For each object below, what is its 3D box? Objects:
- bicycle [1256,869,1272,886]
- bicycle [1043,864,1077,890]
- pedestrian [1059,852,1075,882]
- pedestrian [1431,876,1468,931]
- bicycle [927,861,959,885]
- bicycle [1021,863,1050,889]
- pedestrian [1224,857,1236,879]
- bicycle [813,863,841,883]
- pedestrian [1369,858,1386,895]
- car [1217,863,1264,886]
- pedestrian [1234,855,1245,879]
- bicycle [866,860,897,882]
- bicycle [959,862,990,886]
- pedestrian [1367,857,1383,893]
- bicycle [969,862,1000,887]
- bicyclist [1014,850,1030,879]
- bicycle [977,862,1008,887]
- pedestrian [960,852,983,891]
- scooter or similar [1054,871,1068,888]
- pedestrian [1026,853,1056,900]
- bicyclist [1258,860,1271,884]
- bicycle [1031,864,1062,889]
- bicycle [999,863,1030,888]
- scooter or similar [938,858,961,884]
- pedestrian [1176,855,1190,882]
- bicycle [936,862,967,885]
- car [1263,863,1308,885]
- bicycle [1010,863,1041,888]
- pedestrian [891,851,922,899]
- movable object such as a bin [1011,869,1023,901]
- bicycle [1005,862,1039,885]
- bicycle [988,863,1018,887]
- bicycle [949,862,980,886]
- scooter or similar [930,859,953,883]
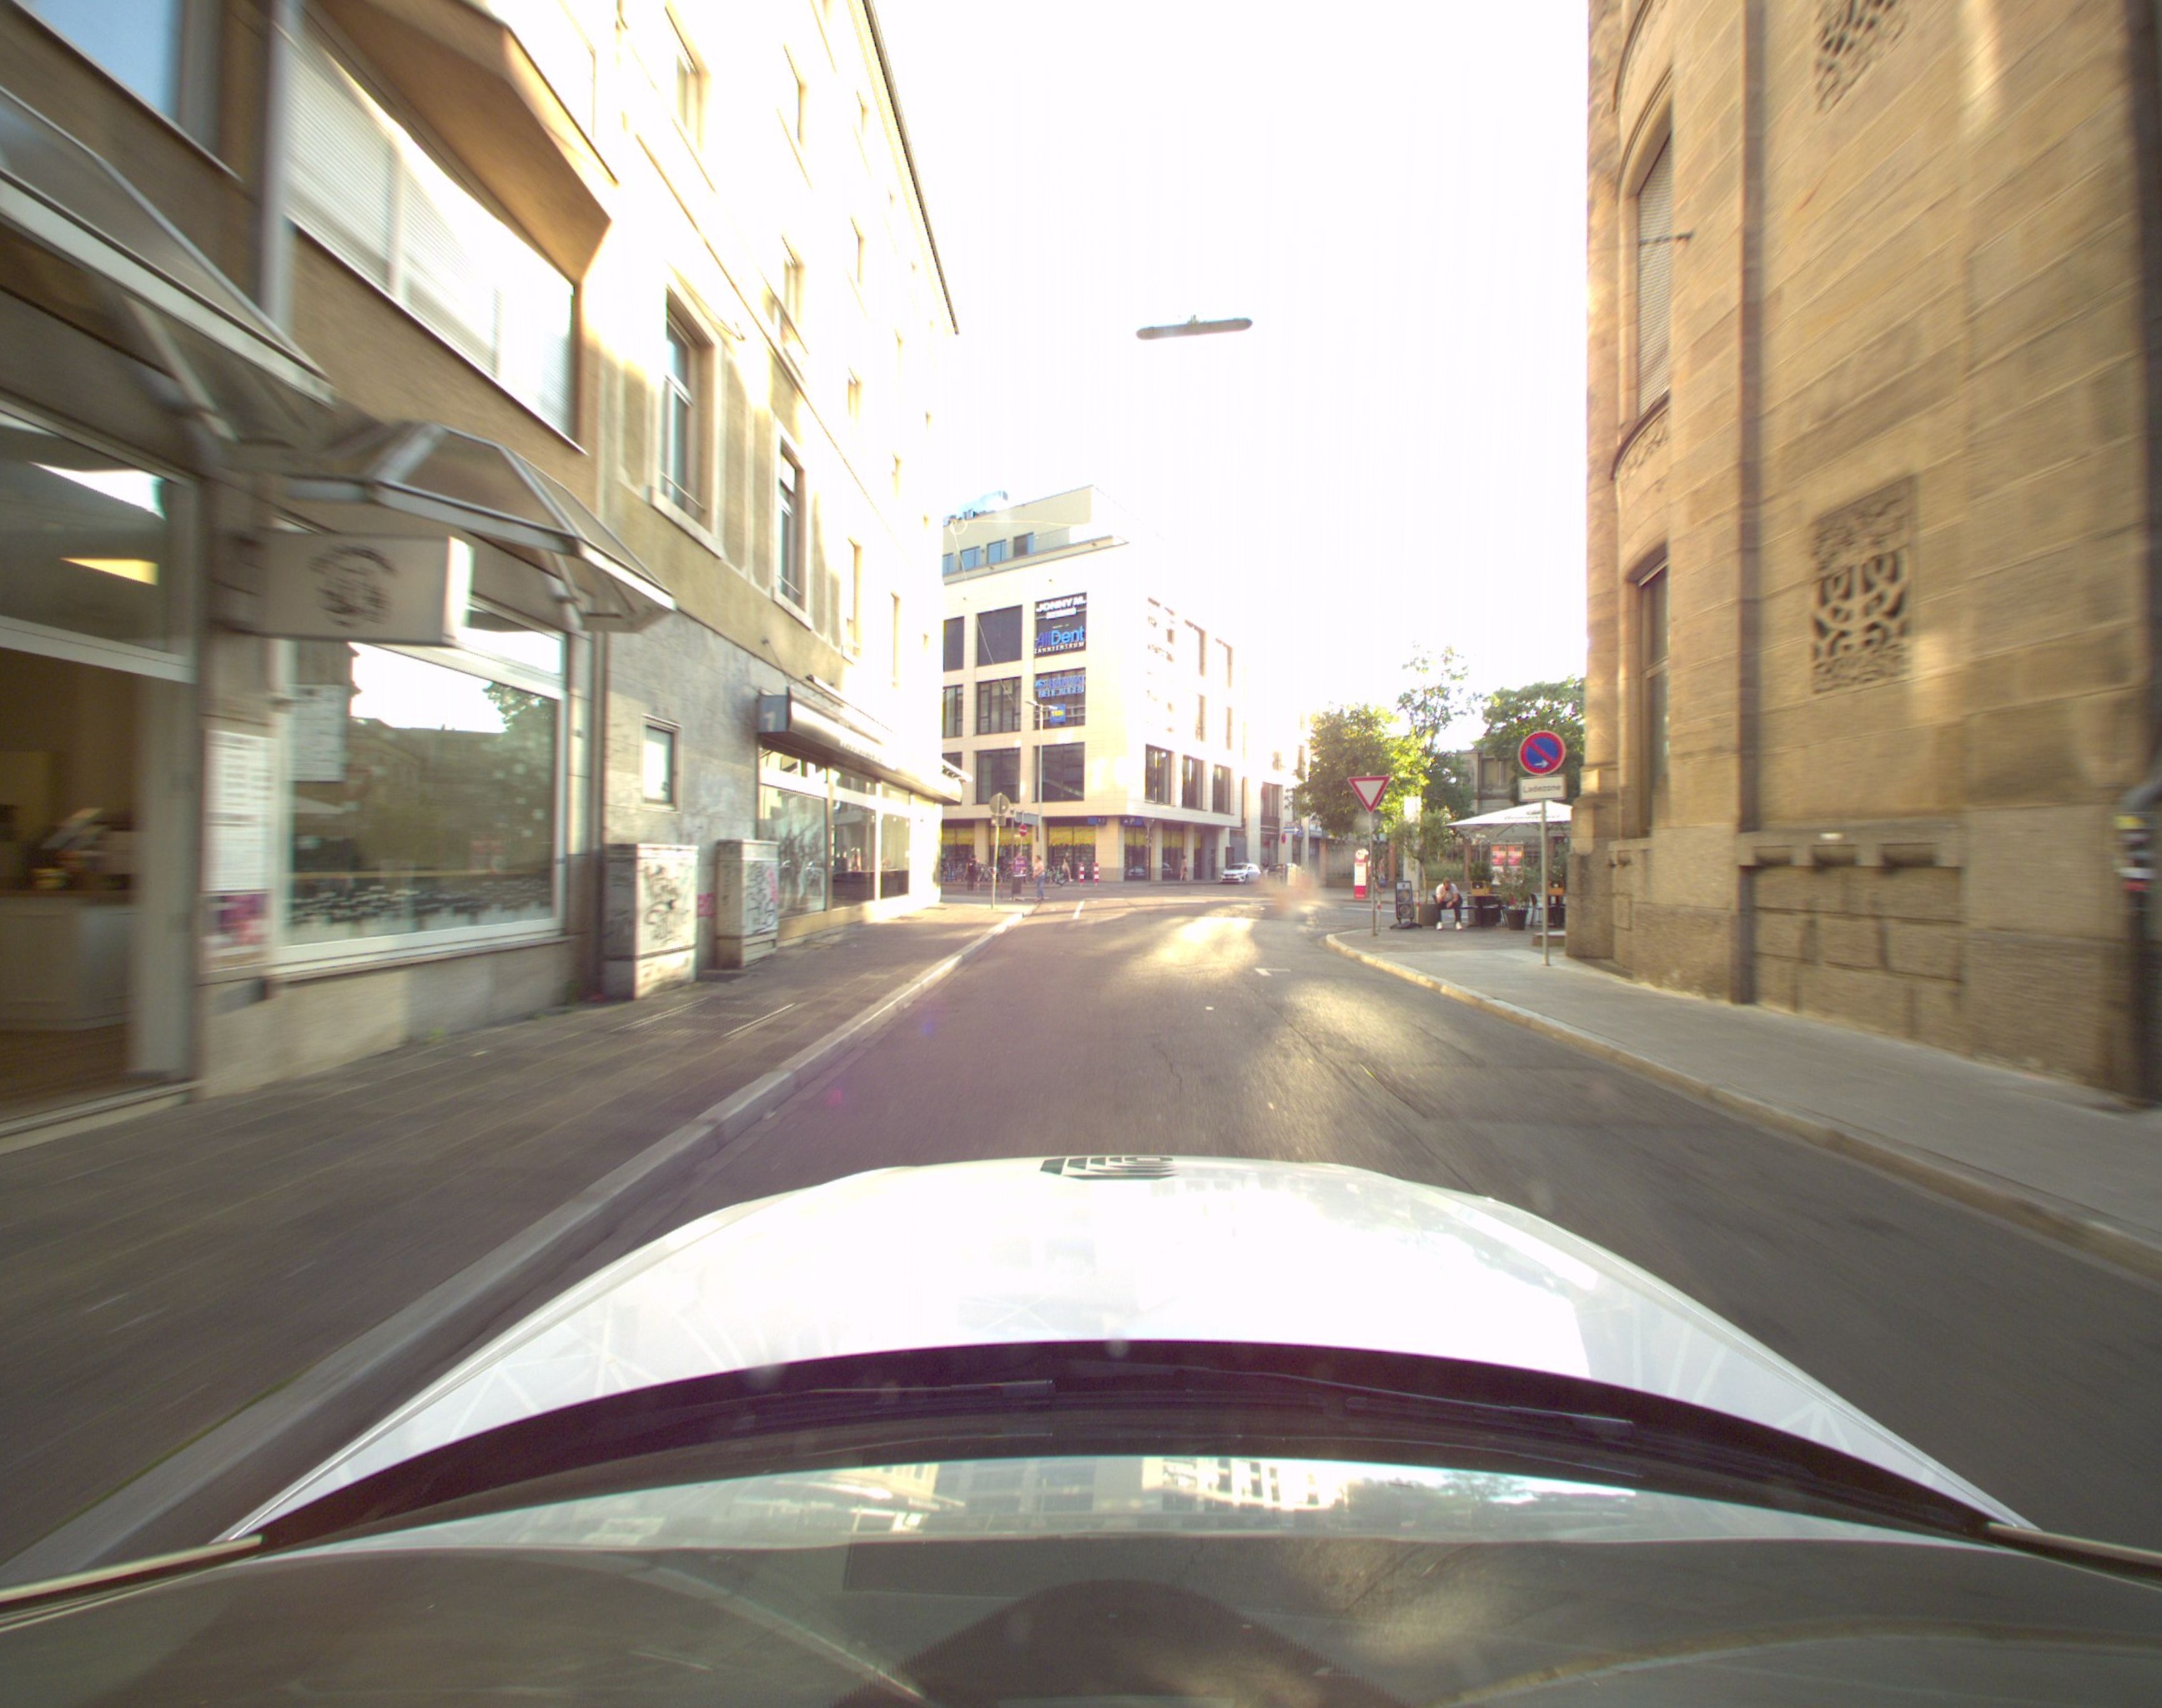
[{"bbox_3d":[12.142,1.551,53.957,0.658,1.138,1.832,1,-1,25],"label":"bicycle"},{"bbox_3d":[-1.043,1.140,40.914,0.657,1.255,2.153,1,-1,28],"label":"bicycle"},{"bbox_3d":[-0.807,0.771,47.575,0.638,1.723,0.839,1,-1,-23],"label":"pedestrian"},{"bbox_3d":[8.416,1.113,18.619,0.602,1.188,0.824,1,0,11],"label":"pedestrian"},{"bbox_3d":[-7.594,1.057,44.859,0.507,1.255,1.991,1,-1,31],"label":"bicycle"},{"bbox_3d":[-2.300,1.121,41.517,0.507,1.255,1.991,1,-1,28],"label":"bicycle"},{"bbox_3d":[11.372,1.053,62.215,0.665,1.675,0.651,0,-1,30],"label":"pedestrian"},{"bbox_3d":[-16.816,1.268,53.953,1.954,1.255,0.516,1,-1,29],"label":"bicycle"},{"bbox_3d":[13.644,1.015,37.494,0.697,1.670,0.645,0,1,18],"label":"pedestrian"},{"bbox_3d":[10.824,1.367,55.190,1.760,1.453,4.257,0,-1,31],"label":"car"},{"bbox_3d":[12.019,0.993,61.795,0.665,1.836,0.651,0,-1,30],"label":"pedestrian"},{"bbox_3d":[-11.569,1.008,47.284,0.507,1.255,1.991,1,-1,31],"label":"bicycle"},{"bbox_3d":[-5.711,1.081,43.712,0.507,1.255,1.991,1,-1,31],"label":"bicycle"},{"bbox_3d":[13.781,0.976,38.211,0.697,1.670,0.645,0,1,18],"label":"pedestrian"},{"bbox_3d":[-5.120,1.088,43.321,0.507,1.255,1.991,1,-1,31],"label":"bicycle"},{"bbox_3d":[-3.424,0.615,47.303,0.636,1.695,0.688,0,-1,32],"label":"bicyclist"},{"bbox_3d":[-4.653,1.093,43.002,0.507,1.255,1.991,1,-1,31],"label":"bicycle"},{"bbox_3d":[-4.732,0.767,35.186,0.870,1.658,0.616,1,-1,-14],"label":"pedestrian"},{"bbox_3d":[-1.036,1.313,42.519,0.383,0.884,0.775,1,-1,31],"label":"scooter or similar"},{"bbox_3d":[-1.420,0.788,28.586,0.807,1.613,0.728,1,-1,-28],"label":"pedestrian"},{"bbox_3d":[12.148,1.202,54.000,0.652,1.570,0.868,1,-1,25],"label":"bicyclist"},{"bbox_3d":[-1.727,1.130,41.247,0.575,1.255,2.056,1,-1,28],"label":"bicycle"},{"bbox_3d":[-3.433,1.108,42.280,0.507,1.255,1.991,1,-1,31],"label":"bicycle"},{"bbox_3d":[-6.714,0.873,41.513,0.383,1.260,1.278,1,-1,31],"label":"scooter or similar"},{"bbox_3d":[6.624,0.934,52.826,0.665,1.744,0.651,0,-1,32],"label":"pedestrian"},{"bbox_3d":[-7.054,1.064,44.546,0.507,1.255,1.991,1,-1,29],"label":"bicycle"},{"bbox_3d":[15.876,1.514,62.964,1.865,1.598,4.719,0,-1,34],"label":"car"},{"bbox_3d":[-2.840,1.114,41.816,0.507,1.255,1.991,0,-1,33],"label":"bicycle"},{"bbox_3d":[-5.961,0.705,27.830,0.727,1.613,0.807,0,-1,12],"label":"pedestrian"},{"bbox_3d":[-2.207,1.069,28.080,0.359,1.064,0.355,1,-1,-9],"label":"movable object such as a bin"},{"bbox_3d":[-3.448,1.137,47.356,1.953,1.255,0.616,1,-1,31],"label":"bicycle"},{"bbox_3d":[-4.083,1.101,42.707,0.507,1.255,1.991,1,-1,30],"label":"bicycle"},{"bbox_3d":[-6.314,1.075,44.173,0.507,1.255,1.991,1,-1,31],"label":"bicycle"},{"bbox_3d":[-7.175,0.888,41.868,0.383,1.212,1.278,1,-1,31],"label":"scooter or similar"}]
